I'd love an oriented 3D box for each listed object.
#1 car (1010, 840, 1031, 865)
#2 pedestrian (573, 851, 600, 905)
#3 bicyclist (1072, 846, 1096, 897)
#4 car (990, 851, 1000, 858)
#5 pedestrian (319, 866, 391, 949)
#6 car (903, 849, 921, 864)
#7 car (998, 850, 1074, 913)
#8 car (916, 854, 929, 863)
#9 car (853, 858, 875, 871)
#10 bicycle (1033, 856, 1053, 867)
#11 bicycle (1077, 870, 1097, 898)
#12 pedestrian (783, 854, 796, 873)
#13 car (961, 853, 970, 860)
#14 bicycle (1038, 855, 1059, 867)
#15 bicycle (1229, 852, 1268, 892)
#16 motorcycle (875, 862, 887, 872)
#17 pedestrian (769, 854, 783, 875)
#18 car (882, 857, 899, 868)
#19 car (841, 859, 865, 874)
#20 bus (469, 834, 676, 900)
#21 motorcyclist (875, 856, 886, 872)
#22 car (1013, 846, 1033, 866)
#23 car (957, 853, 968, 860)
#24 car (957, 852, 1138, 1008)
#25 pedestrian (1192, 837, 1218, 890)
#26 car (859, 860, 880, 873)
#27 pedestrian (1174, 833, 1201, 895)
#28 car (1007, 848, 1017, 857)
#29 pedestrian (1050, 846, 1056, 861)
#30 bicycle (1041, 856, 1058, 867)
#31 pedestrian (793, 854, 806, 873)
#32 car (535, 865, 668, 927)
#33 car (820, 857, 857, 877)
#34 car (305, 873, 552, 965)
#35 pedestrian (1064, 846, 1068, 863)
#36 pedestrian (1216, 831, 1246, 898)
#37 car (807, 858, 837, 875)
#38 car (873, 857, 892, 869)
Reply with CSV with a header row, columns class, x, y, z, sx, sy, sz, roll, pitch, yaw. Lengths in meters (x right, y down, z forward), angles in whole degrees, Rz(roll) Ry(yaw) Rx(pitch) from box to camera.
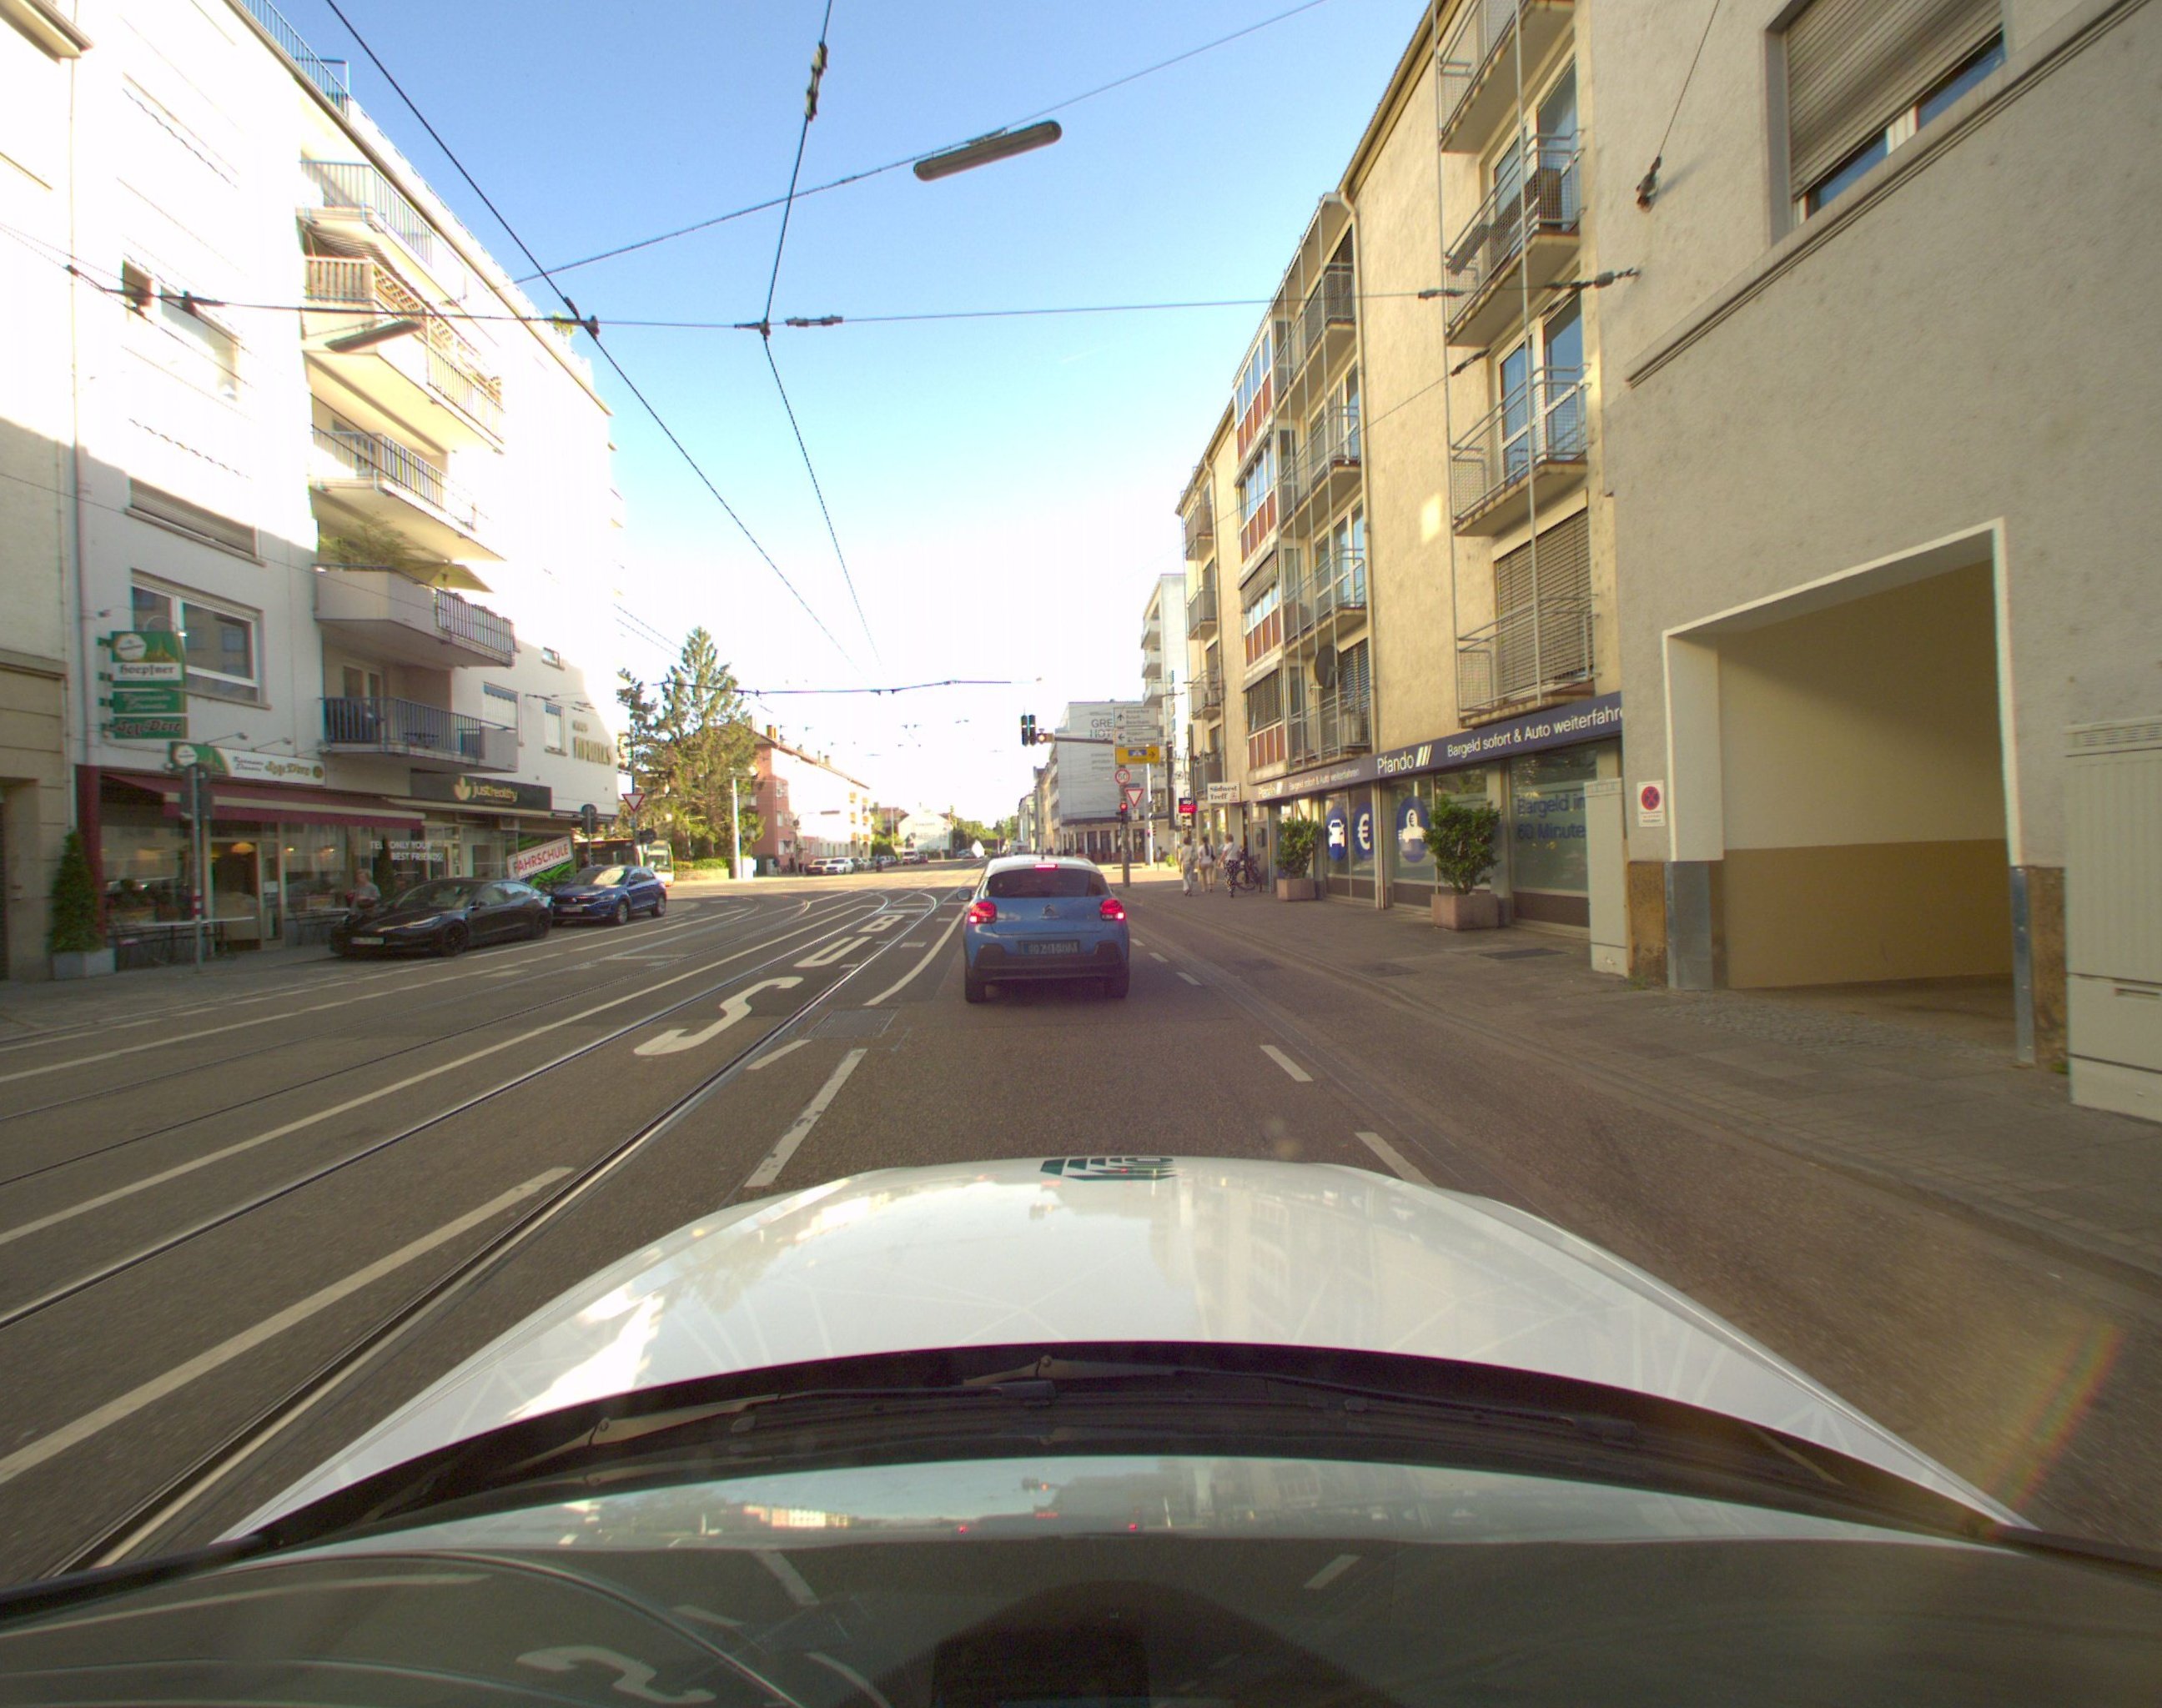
class,x,y,z,sx,sy,sz,roll,pitch,yaw
car,-5.898,-0.135,79.215,1.990,2.325,3.992,-1,0,-5
pedestrian,-18.976,0.907,31.266,0.686,2.013,0.485,-2,0,-8
bicyclist,0.105,0.573,27.340,0.724,1.646,0.789,-2,0,-2
car,-16.382,0.054,155.381,1.754,1.259,3.820,-2,0,-9
pedestrian,-14.212,1.030,15.965,0.695,1.548,0.721,-2,1,-2
car,-25.995,0.341,125.239,2.204,2.251,4.667,-2,0,-6
car,-1.118,0.631,20.911,1.734,1.420,3.997,-2,0,-2
car,-29.165,0.835,150.245,2.019,1.525,3.992,-2,0,-6
car,-26.046,1.230,97.943,1.909,1.497,3.991,-2,0,-6
bicycle,-3.500,0.660,75.287,1.715,0.957,0.701,-2,0,-1
bicycle,0.187,0.993,27.602,0.498,0.864,1.746,-2,0,-4
pedestrian,-26.797,0.875,74.923,0.841,1.690,0.737,-2,0,0
car,-27.304,0.532,192.828,2.019,1.525,3.992,-2,0,-6
bicycle,-2.929,0.645,73.954,1.868,0.957,0.701,-2,0,-1
bicycle,4.724,0.483,23.043,0.529,1.072,1.807,-2,0,-5
motorcycle,-18.048,1.178,73.506,0.614,0.864,1.669,-2,0,-2
pedestrian,-25.946,0.886,69.379,0.841,1.690,0.737,-2,0,0
car,-28.488,1.262,121.936,1.867,1.574,3.992,-2,0,-5
car,-25.643,1.387,91.850,1.909,1.497,3.991,-2,0,-6
bus,-27.407,0.698,43.968,10.099,3.158,2.739,-2,0,10
motorcyclist,-18.042,0.891,73.351,0.717,1.378,0.911,-2,0,-2
car,-5.288,0.195,74.325,1.730,1.750,3.208,-1,0,-5
car,-25.528,0.567,175.323,2.019,1.525,3.992,-2,0,-6
car,-0.541,0.720,9.856,1.742,1.462,3.991,-1,0,-7
pedestrian,3.667,0.280,24.064,0.540,1.507,0.610,-4,2,-4
car,-26.840,1.516,103.509,1.909,1.497,3.991,-2,0,-6
pedestrian,2.980,0.274,22.831,0.540,1.672,0.623,-4,2,-4
car,-11.706,-0.244,137.796,1.686,1.618,3.994,-1,0,-4
pedestrian,-3.035,-0.038,88.962,0.492,1.556,0.645,-2,0,-14
bicycle,-2.801,0.643,72.899,1.499,0.957,0.701,-2,0,-1
pedestrian,-25.925,0.860,75.071,0.841,1.690,0.737,-2,0,0
car,-12.975,1.073,22.324,1.743,1.509,3.989,0,0,-8
car,-20.970,1.119,70.592,1.843,1.574,4.402,-2,0,1
car,-12.666,1.163,16.235,1.696,1.509,4.304,0,0,-5
pedestrian,-1.389,0.052,77.112,0.284,1.556,0.304,-2,0,-11
pedestrian,3.915,0.265,21.261,0.540,1.672,0.649,-4,0,-4
car,-23.800,1.119,74.862,1.910,1.433,3.990,-2,0,-8
car,-27.220,1.278,111.899,1.909,1.497,3.991,-2,0,-6
